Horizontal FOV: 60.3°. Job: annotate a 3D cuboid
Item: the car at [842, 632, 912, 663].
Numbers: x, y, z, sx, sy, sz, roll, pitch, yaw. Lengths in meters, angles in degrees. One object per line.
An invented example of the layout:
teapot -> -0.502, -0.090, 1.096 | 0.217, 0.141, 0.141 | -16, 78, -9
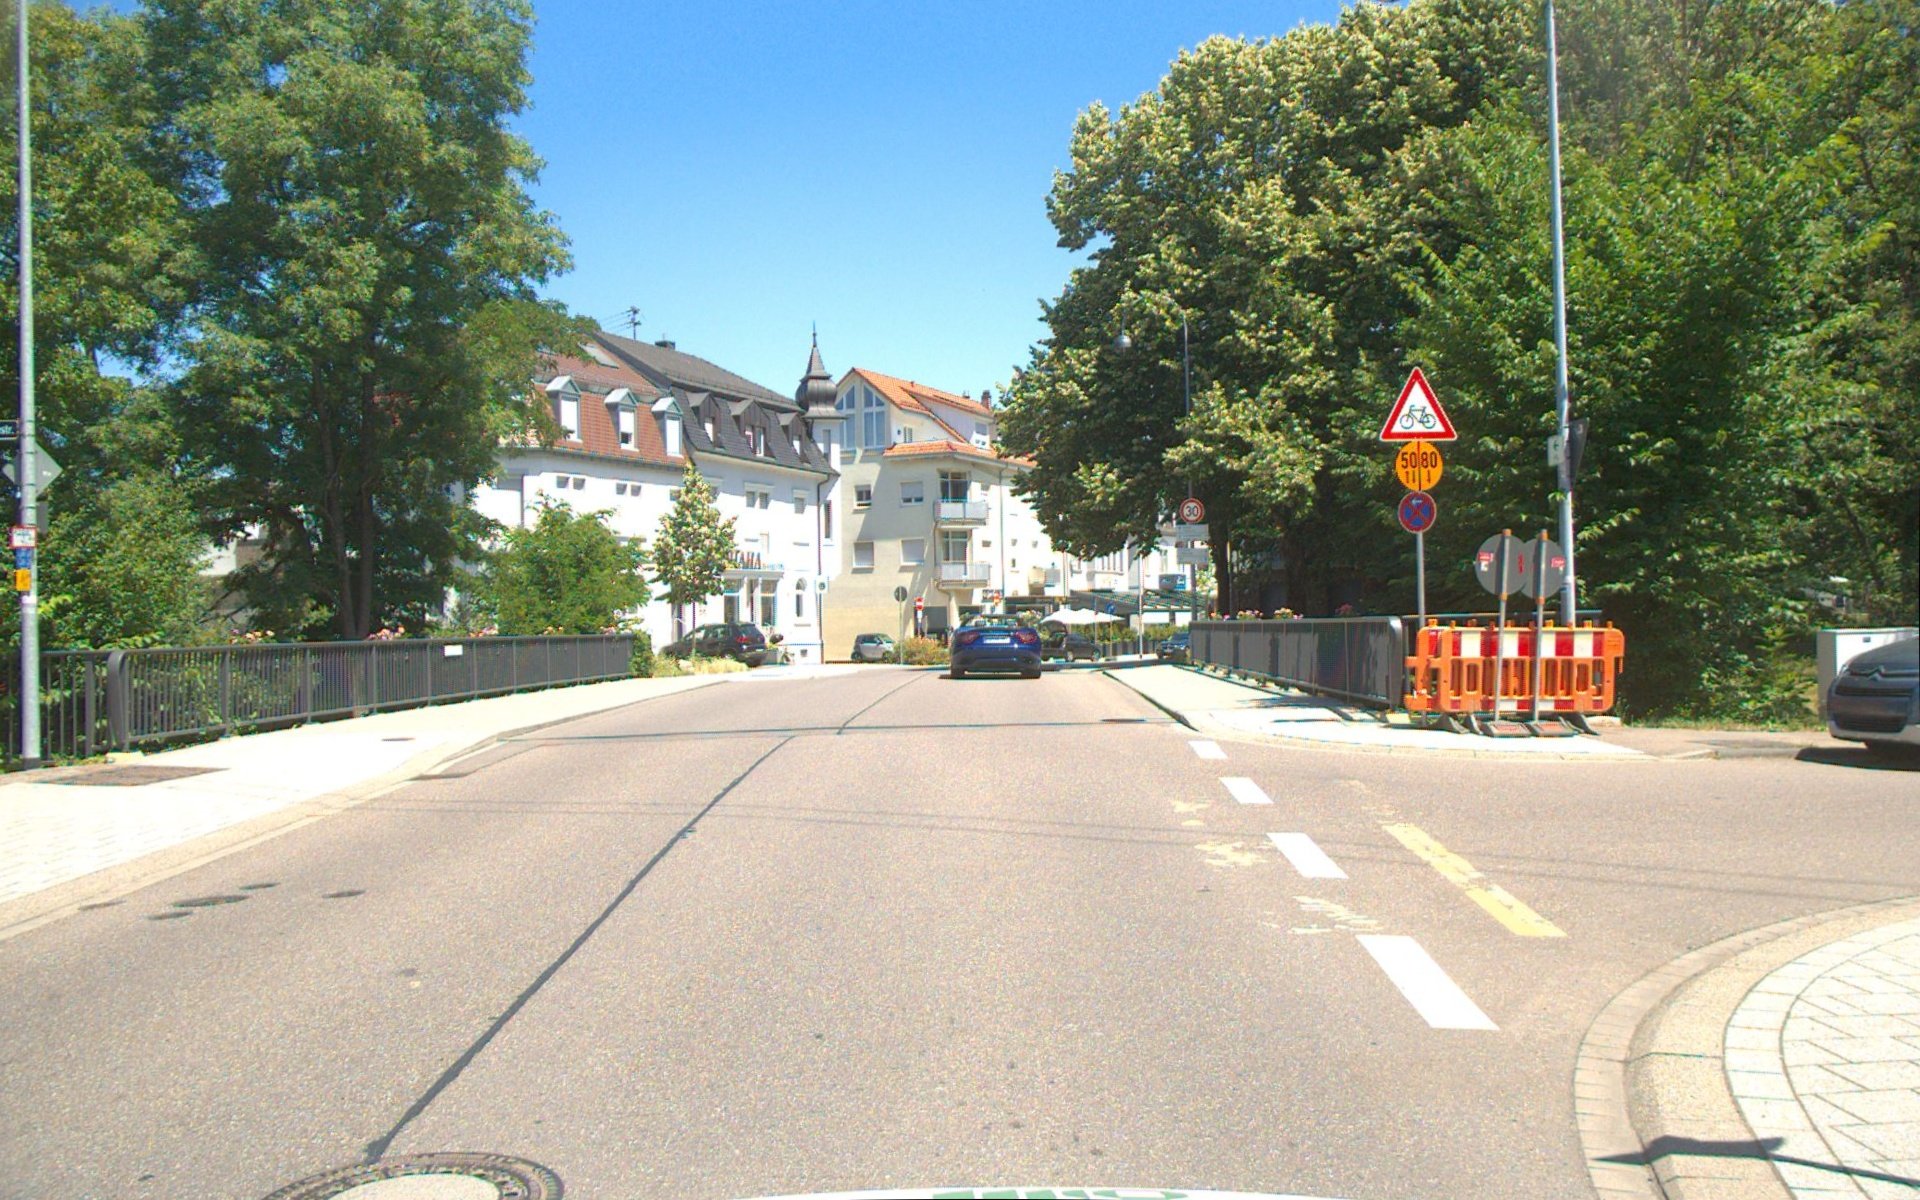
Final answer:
car -> -4.318, 2.488, 86.372 | 3.196, 1.484, 1.691 | -2, -1, 22

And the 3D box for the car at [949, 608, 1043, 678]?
car -> 0.755, 0.881, 34.934 | 1.832, 1.366, 4.596 | 0, -1, 1

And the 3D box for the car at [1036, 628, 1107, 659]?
car -> 5.752, 2.222, 84.827 | 1.684, 1.486, 4.112 | 0, -1, 37

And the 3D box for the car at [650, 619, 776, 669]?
car -> -9.028, 1.624, 60.446 | 4.095, 1.691, 1.970 | -2, -2, 23

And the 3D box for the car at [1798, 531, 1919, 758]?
car -> 9.904, 0.380, 14.605 | 4.257, 1.871, 1.746 | 0, -1, -9

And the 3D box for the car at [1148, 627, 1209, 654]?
car -> 12.407, 2.269, 93.550 | 1.800, 1.454, 4.774 | -1, -1, 29
